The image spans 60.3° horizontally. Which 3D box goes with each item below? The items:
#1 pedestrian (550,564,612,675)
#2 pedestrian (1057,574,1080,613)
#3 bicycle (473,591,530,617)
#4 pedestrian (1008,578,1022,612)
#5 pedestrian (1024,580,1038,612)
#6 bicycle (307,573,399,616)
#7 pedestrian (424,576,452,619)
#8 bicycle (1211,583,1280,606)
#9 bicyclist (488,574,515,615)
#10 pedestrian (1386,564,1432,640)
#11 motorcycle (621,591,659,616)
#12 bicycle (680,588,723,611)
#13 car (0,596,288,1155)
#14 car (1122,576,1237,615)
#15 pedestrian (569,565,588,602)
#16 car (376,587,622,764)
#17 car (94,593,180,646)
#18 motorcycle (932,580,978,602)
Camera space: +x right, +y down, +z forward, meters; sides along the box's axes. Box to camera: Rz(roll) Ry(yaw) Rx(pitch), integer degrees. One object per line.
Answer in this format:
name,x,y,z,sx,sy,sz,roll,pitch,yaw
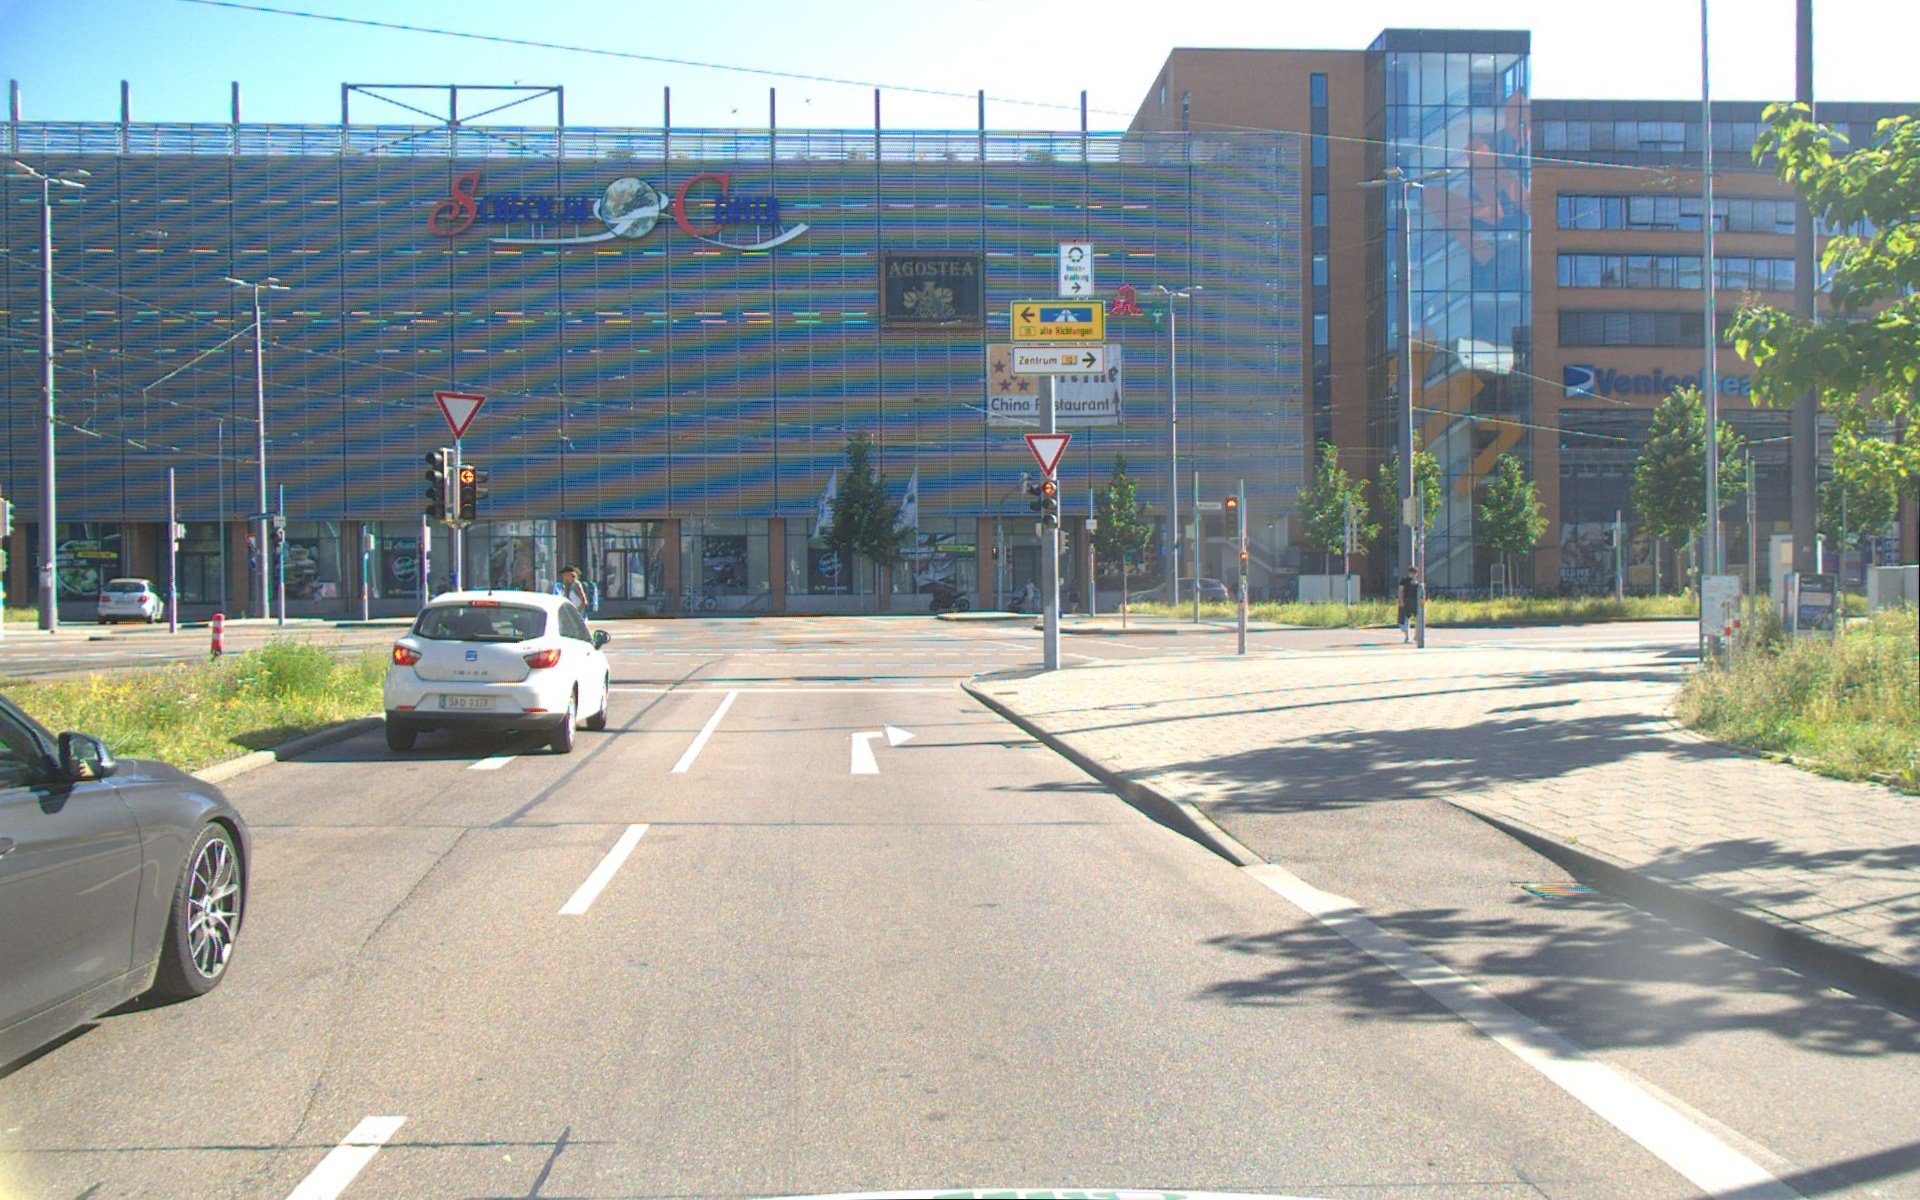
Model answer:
pedestrian,-6.072,0.303,26.541,0.868,1.737,0.712,-1,1,-6
pedestrian,4.967,-0.301,75.818,0.838,1.768,0.751,-1,0,-12
bicycle,-20.307,0.180,73.332,1.028,1.089,2.230,0,1,44
pedestrian,2.594,-0.251,77.593,0.578,1.561,0.657,-1,1,-6
pedestrian,3.340,-0.202,78.264,0.578,1.488,0.657,-1,1,-6
bicycle,-29.265,-0.279,79.803,3.909,2.048,1.329,0,1,-5
pedestrian,-23.179,-0.132,73.507,0.888,1.901,0.817,0,1,37
bicycle,14.348,-0.281,83.144,3.291,1.096,1.117,0,1,1
bicyclist,-20.329,-0.246,73.335,0.802,1.834,0.840,0,1,43
pedestrian,10.420,0.049,38.401,0.791,1.738,0.761,0,1,-6
motorcycle,-14.494,0.160,74.930,1.617,1.078,0.497,-1,1,4
bicycle,-12.471,-0.048,79.919,1.987,1.078,1.143,-1,1,-6
car,-3.408,0.742,4.335,1.700,1.448,4.464,2,0,-4
car,8.882,-0.199,67.061,4.400,1.521,1.493,-1,1,-5
pedestrian,-18.505,-0.811,80.251,0.832,1.794,0.619,-1,1,-6
car,-4.331,0.639,16.075,1.600,1.448,3.778,2,0,-5
car,-29.708,0.673,59.827,1.721,1.825,3.990,1,0,-11
motorcycle,-0.259,-0.465,81.376,2.160,1.061,1.060,0,1,-5
